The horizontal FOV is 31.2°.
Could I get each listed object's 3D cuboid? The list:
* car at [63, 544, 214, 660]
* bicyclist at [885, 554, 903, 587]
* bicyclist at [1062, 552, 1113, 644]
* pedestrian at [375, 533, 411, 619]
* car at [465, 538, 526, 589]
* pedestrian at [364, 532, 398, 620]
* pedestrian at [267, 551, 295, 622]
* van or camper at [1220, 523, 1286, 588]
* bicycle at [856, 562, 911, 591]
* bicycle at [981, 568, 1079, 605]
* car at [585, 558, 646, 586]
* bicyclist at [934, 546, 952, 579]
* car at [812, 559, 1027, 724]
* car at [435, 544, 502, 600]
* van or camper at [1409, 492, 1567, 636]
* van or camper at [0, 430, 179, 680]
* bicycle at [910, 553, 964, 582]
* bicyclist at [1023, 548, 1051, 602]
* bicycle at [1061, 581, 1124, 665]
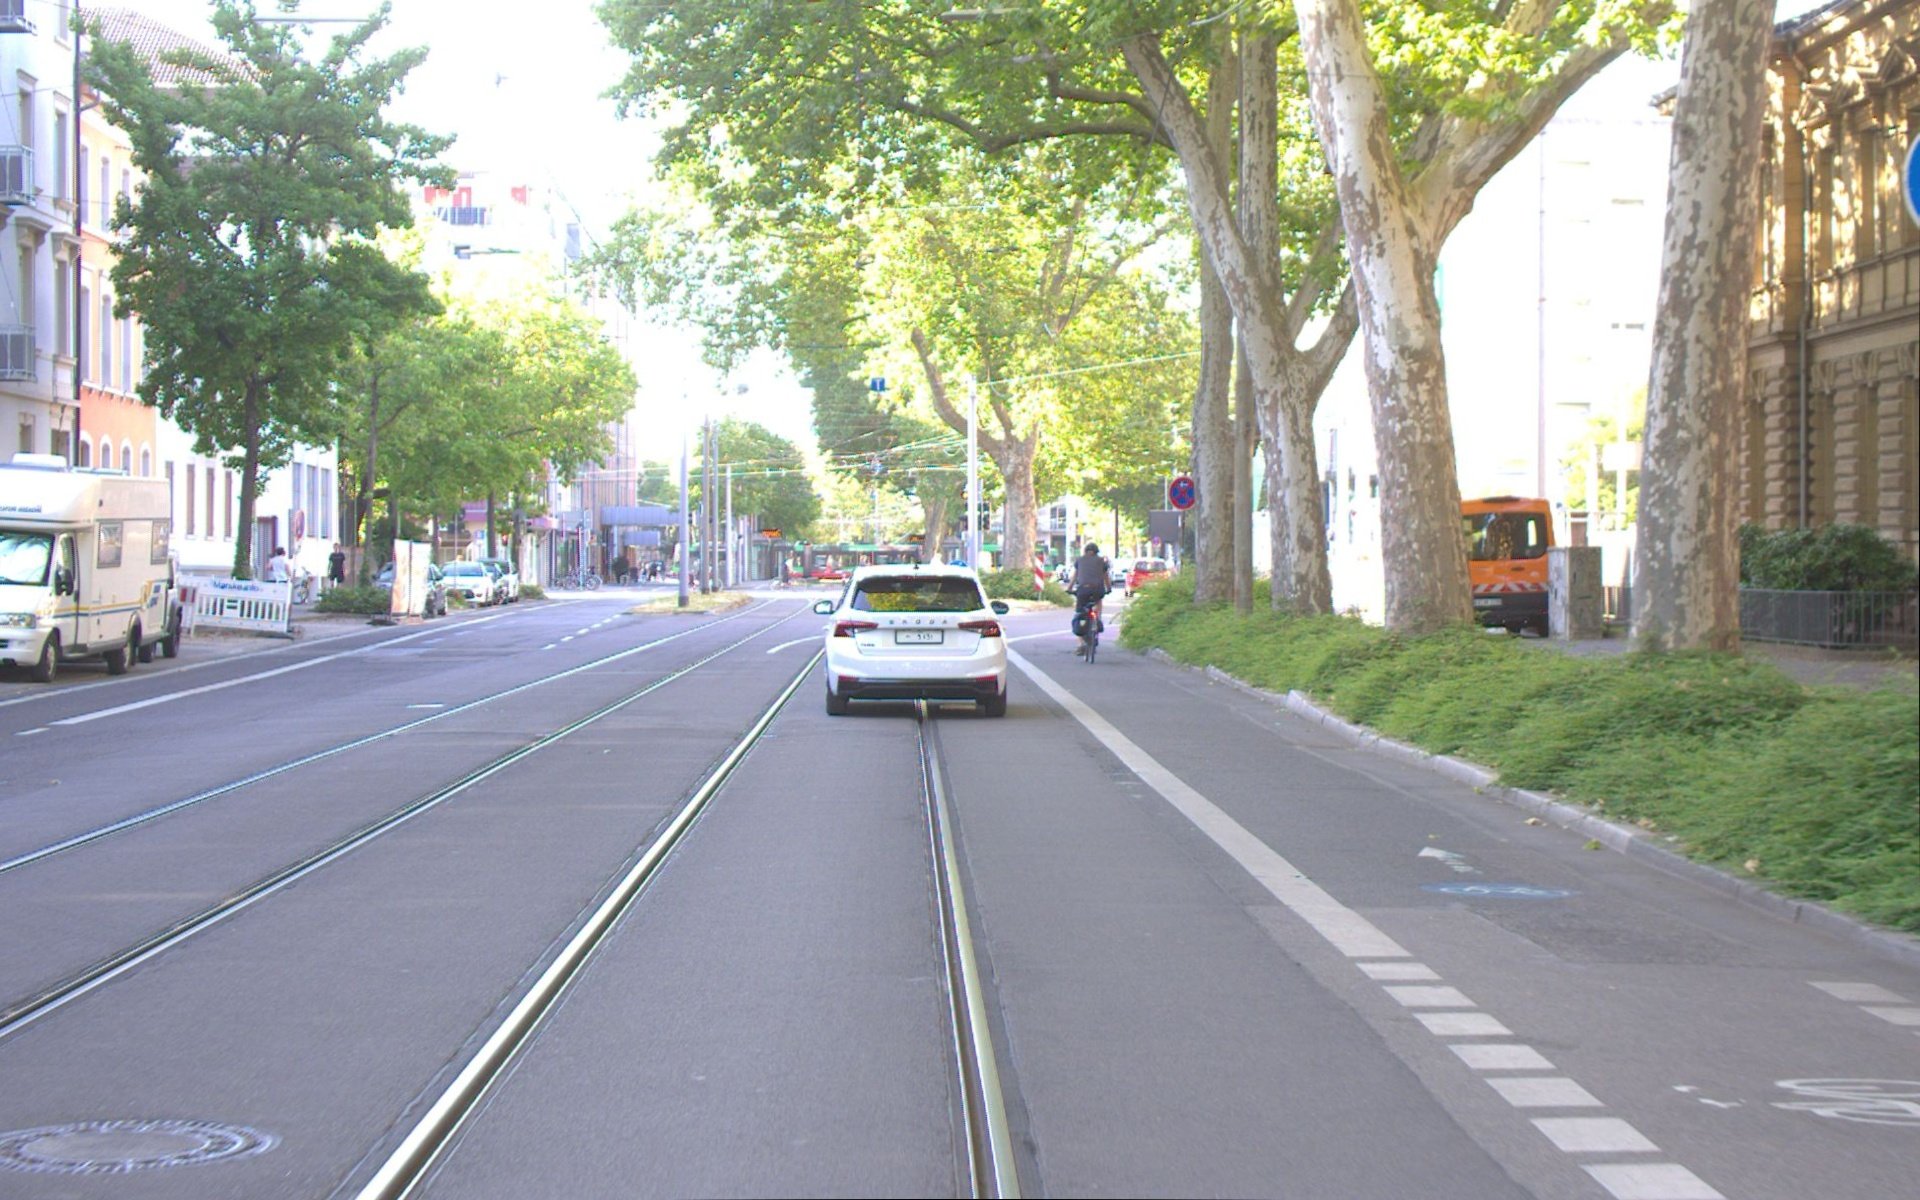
[{"bbox_3d":[-12.867,0.008,54.044,1.641,1.720,3.785,1,1,-3],"label":"car"},{"bbox_3d":[-3.077,-1.390,159.961,0.631,1.517,0.610,-1,2,-36],"label":"bicyclist"},{"bbox_3d":[1.870,-0.034,50.402,0.679,1.334,0.525,1,0,-2],"label":"bicyclist"},{"bbox_3d":[-13.240,-0.565,80.268,0.646,1.996,0.749,1,0,3],"label":"pedestrian"},{"bbox_3d":[-16.226,-1.298,120.314,1.793,1.720,3.785,1,1,-3],"label":"car"},{"bbox_3d":[-13.349,-0.550,79.299,0.601,1.996,0.749,1,0,3],"label":"pedestrian"},{"bbox_3d":[-17.256,-0.349,87.346,0.600,1.766,0.701,1,0,-6],"label":"pedestrian"},{"bbox_3d":[10.898,-1.641,128.051,1.993,2.335,4.000,2,0,-1],"label":"van or camper"},{"bbox_3d":[-3.551,-1.099,159.624,2.680,1.323,0.615,-1,1,-36],"label":"bicycle"},{"bbox_3d":[2.051,-0.405,100.843,2.771,0.996,0.592,2,0,13],"label":"bicycle"},{"bbox_3d":[-23.147,-1.880,230.887,3.794,1.812,1.803,2,0,4],"label":"car"},{"bbox_3d":[-0.810,-1.764,161.516,0.631,1.517,0.610,-1,2,-36],"label":"bicyclist"},{"bbox_3d":[-0.450,0.366,33.442,1.842,1.475,3.839,1,0,-4],"label":"car"},{"bbox_3d":[-15.748,-0.898,110.344,1.793,1.720,3.785,1,1,-3],"label":"car"},{"bbox_3d":[9.525,-0.656,62.380,2.027,2.455,5.108,2,0,0],"label":"van or camper"},{"bbox_3d":[-12.573,-0.626,46.863,2.216,3.129,7.114,1,1,0],"label":"van or camper"},{"bbox_3d":[-1.054,-1.527,161.354,2.680,1.323,0.615,-1,1,-36],"label":"bicycle"},{"bbox_3d":[2.268,-0.738,100.803,0.737,1.583,0.586,0,1,11],"label":"bicyclist"},{"bbox_3d":[1.920,0.320,50.259,0.680,1.151,2.964,1,0,-2],"label":"bicycle"}]
